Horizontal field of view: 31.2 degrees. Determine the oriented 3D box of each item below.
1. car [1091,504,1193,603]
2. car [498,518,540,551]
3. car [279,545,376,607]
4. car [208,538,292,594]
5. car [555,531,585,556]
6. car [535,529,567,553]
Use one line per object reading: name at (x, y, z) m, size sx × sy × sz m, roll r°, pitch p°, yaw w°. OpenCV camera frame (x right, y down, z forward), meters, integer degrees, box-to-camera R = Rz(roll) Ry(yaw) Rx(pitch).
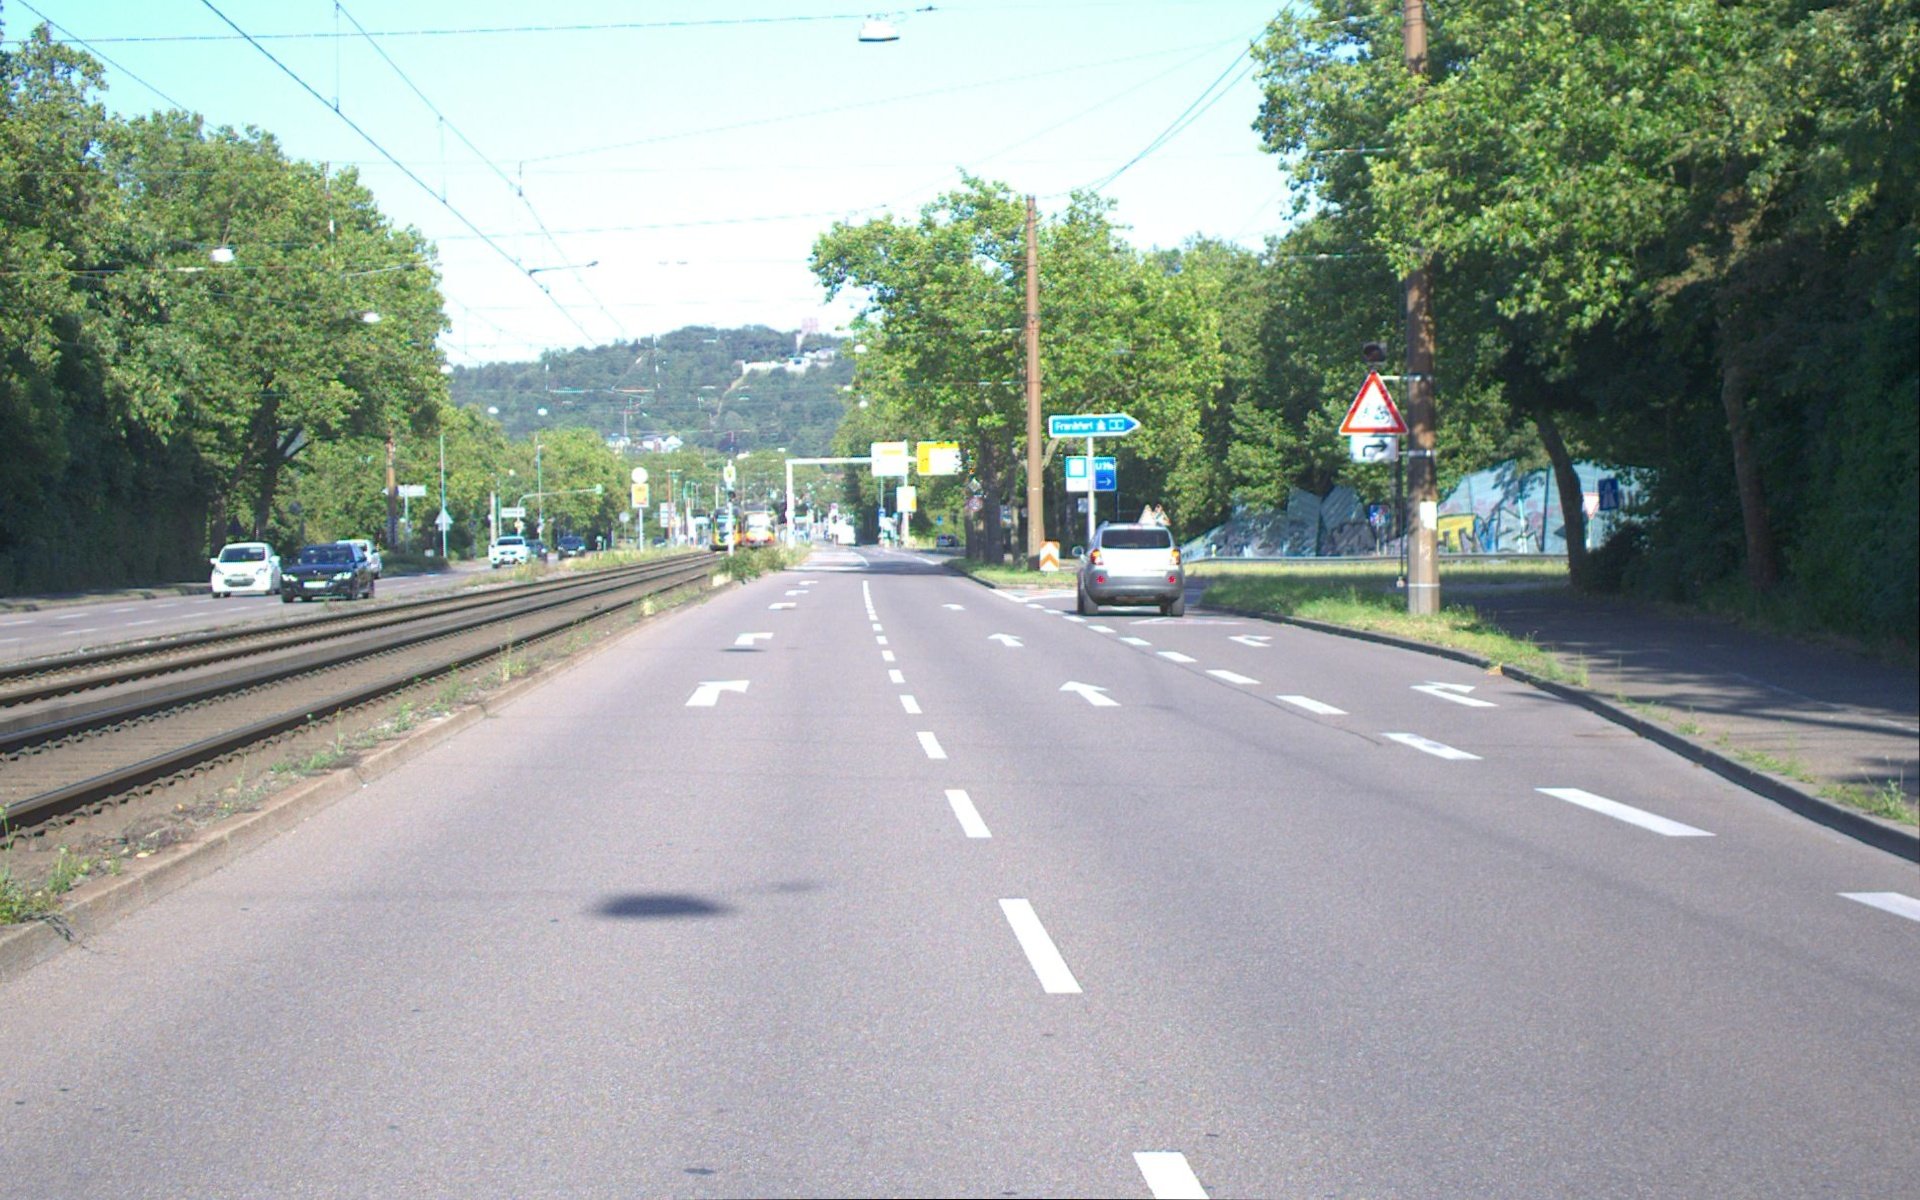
car at (3.343, -0.866, 63.618) m, size 1.809 × 1.767 × 3.862 m, roll 1°, pitch 1°, yaw 2°
car at (-24.500, -3.616, 191.007) m, size 1.962 × 1.701 × 4.945 m, roll -3°, pitch 1°, yaw -4°
car at (-15.817, -0.620, 86.158) m, size 1.657 × 1.428 × 4.502 m, roll -2°, pitch 1°, yaw -1°
car at (-21.223, -1.023, 102.859) m, size 1.691 × 1.550 × 4.191 m, roll -2°, pitch 1°, yaw -1°
car at (-28.206, -4.064, 248.614) m, size 1.898 × 1.688 × 4.942 m, roll -2°, pitch 1°, yaw -4°
car at (-26.100, -3.780, 219.376) m, size 1.710 × 1.463 × 4.348 m, roll -3°, pitch 1°, yaw -4°
